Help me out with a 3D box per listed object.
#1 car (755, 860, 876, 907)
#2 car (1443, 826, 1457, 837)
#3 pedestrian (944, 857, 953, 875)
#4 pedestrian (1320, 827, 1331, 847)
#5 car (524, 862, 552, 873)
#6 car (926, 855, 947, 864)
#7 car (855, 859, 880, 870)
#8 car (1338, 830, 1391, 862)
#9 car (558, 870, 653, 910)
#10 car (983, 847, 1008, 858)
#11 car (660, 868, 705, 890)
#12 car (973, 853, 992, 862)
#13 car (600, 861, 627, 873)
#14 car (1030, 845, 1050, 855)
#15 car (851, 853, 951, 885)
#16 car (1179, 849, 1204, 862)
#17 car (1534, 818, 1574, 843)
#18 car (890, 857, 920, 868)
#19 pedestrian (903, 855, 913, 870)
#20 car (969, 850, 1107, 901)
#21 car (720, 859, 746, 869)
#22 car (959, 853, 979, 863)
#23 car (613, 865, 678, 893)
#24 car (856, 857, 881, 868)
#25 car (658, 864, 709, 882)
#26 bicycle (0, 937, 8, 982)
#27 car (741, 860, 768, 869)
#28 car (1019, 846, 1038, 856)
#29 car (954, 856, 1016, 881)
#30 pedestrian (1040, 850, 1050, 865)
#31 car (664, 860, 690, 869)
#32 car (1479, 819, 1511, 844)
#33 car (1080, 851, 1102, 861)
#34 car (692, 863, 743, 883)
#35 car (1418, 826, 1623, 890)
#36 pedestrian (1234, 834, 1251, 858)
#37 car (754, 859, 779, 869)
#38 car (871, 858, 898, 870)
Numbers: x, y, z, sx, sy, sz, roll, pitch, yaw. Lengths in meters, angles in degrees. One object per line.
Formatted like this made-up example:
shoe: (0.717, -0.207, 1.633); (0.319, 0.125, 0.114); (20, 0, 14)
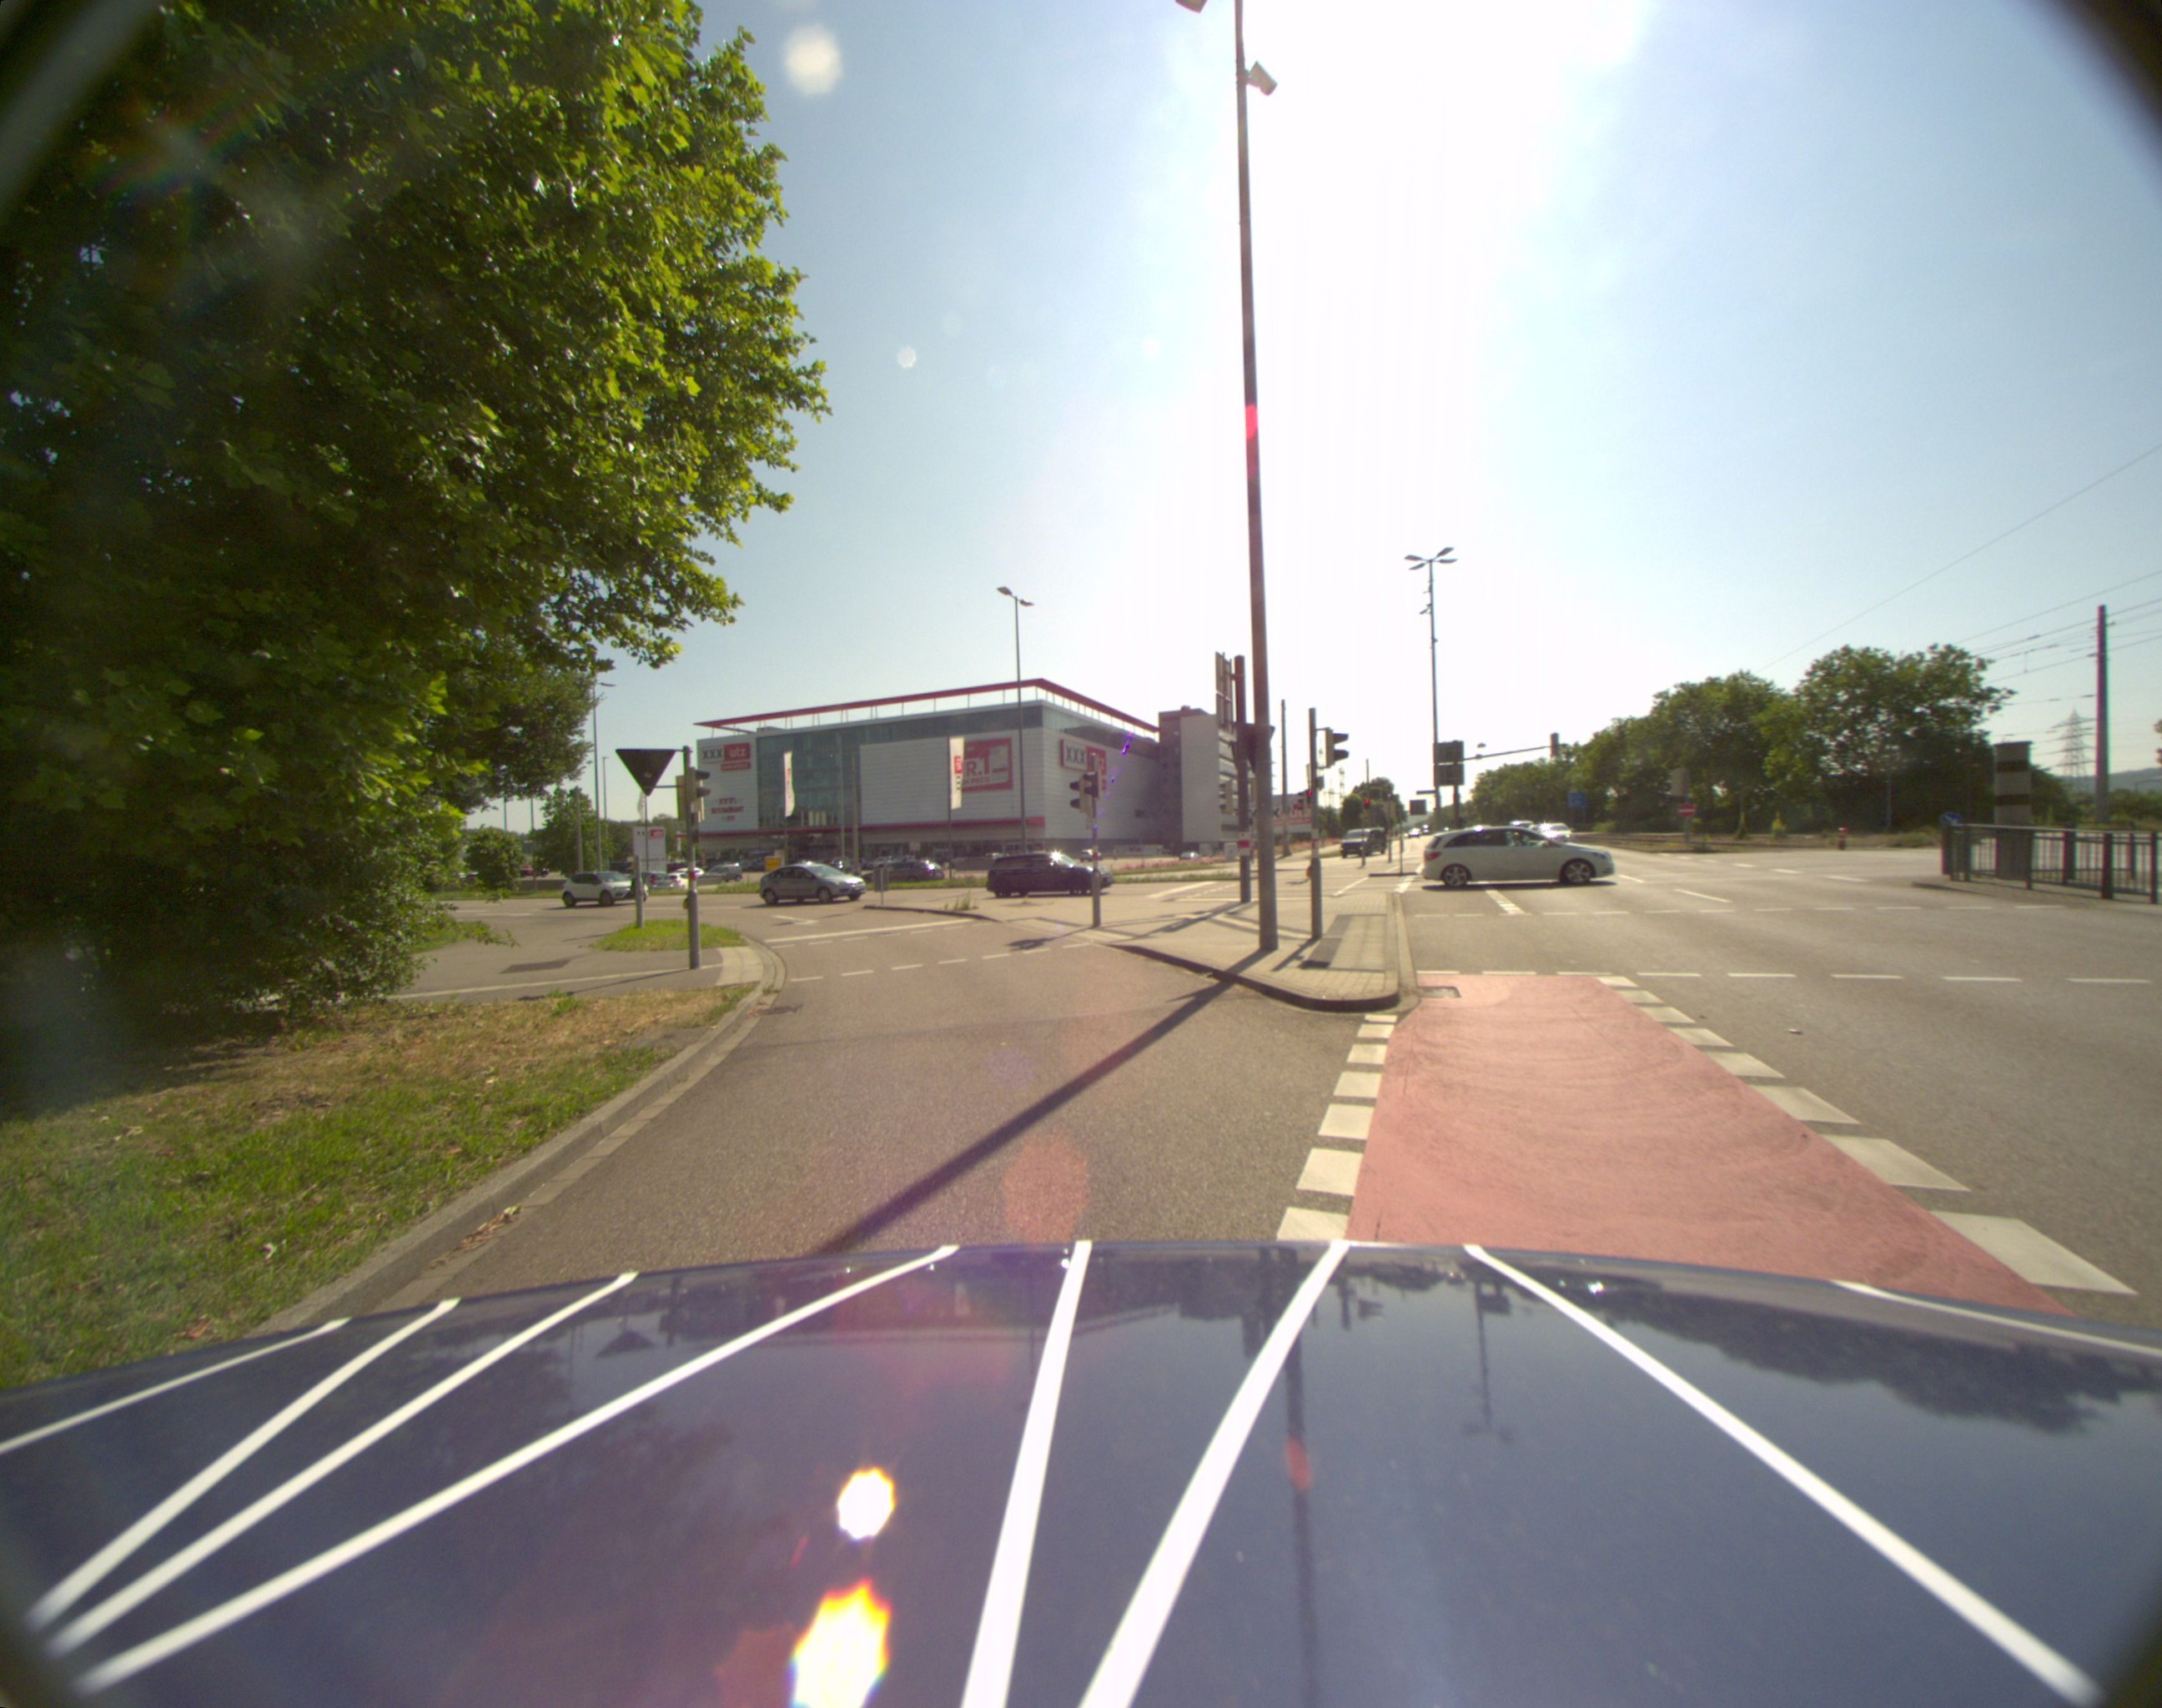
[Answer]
car: (-10.067, 1.108, 28.796); (4.164, 1.564, 1.714); (-2, 2, 22)
car: (55.903, -3.427, 115.173); (1.629, 1.615, 3.791); (-2, 1, 22)
pedestrian: (-13.867, 1.265, 79.582); (0.785, 1.884, 0.497); (-2, 0, -36)
pedestrian: (24.193, -1.665, 75.297); (0.915, 1.961, 0.719); (0, 2, 28)
car: (-81.801, 2.042, 114.502); (1.770, 1.547, 2.780); (-2, 0, 23)
car: (-21.571, 0.856, 113.644); (1.512, 1.218, 3.102); (-1, 1, 23)
car: (-28.252, 1.435, 100.733); (1.512, 1.322, 3.102); (-1, 1, 23)
car: (19.724, -0.591, 52.780); (4.007, 1.914, 1.811); (-5, 2, -44)
car: (-21.255, 1.597, 33.946); (3.861, 1.489, 1.638); (-4, 1, 25)
car: (-10.948, -0.166, 97.475); (1.775, 1.322, 3.102); (-1, 1, 23)
car: (-31.763, 1.953, 60.703); (1.799, 1.538, 4.083); (-2, 1, -8)
car: (-14.359, 0.532, 110.925); (1.363, 1.260, 3.102); (-1, 1, 23)
car: (-74.412, 2.022, 120.956); (1.688, 1.748, 3.102); (-1, 1, 23)
car: (-5.840, -0.553, 108.148); (1.512, 1.322, 3.102); (-1, 1, 23)
car: (-9.662, 0.806, 40.788); (4.803, 1.494, 2.068); (-3, 1, 22)
car: (12.027, 0.136, 82.511); (1.725, 1.322, 3.865); (-1, 1, 23)
car: (29.058, -1.447, 46.766); (1.406, 1.491, 3.358); (-1, 1, 20)
car: (-22.999, 1.090, 99.303); (1.512, 1.322, 4.320); (-1, 1, 23)
pedestrian: (-22.051, 1.062, 96.969); (0.750, 1.846, 0.857); (-2, 0, 24)
car: (-1.427, 0.713, 25.358); (4.191, 1.503, 1.745); (-2, 1, 23)
car: (-51.050, 1.515, 111.600); (1.700, 1.322, 3.102); (-1, 1, 23)
car: (-16.602, 0.544, 112.571); (1.512, 1.322, 3.102); (-1, 1, 23)
car: (-28.629, 1.656, 49.894); (3.908, 1.615, 1.635); (-3, 0, 24)
car: (-28.209, 1.144, 100.945); (1.512, 1.322, 3.102); (-1, 1, 23)
car: (-41.125, 1.976, 78.752); (1.867, 1.618, 4.433); (-2, 1, 22)
bicycle: (-21.114, 2.041, 13.772); (0.432, 0.838, 1.837); (-2, 1, 26)
car: (-46.654, 1.483, 108.700); (1.477, 1.192, 3.515); (-1, 1, 23)
car: (-7.597, -0.485, 109.541); (1.512, 1.322, 3.102); (-1, 1, 23)
car: (-4.292, 0.655, 34.050); (2.486, 0.998, 1.123); (-2, 0, 26)
pedestrian: (-4.815, 0.507, 101.326); (0.973, 2.002, 0.951); (-2, 0, 25)
car: (-61.701, 1.570, 116.076); (1.512, 1.322, 3.229); (-1, 1, 23)
car: (26.007, -1.385, 47.807); (1.406, 1.491, 3.401); (-1, 1, 22)
car: (1.439, 0.281, 104.320); (1.747, 1.322, 3.679); (-1, 1, 23)
car: (-36.604, 1.888, 76.681); (1.941, 1.832, 4.433); (-1, 1, 23)
car: (11.173, 0.100, 19.689); (4.378, 1.440, 1.749); (-2, 1, 23)
pedestrian: (11.936, -0.574, 56.107); (0.840, 1.697, 0.907); (-2, 0, 44)
car: (-44.438, 1.405, 107.343); (1.512, 1.322, 3.102); (-1, 1, 23)
car: (-25.673, 1.252, 99.160); (1.585, 1.322, 3.420); (-3, 0, 22)
